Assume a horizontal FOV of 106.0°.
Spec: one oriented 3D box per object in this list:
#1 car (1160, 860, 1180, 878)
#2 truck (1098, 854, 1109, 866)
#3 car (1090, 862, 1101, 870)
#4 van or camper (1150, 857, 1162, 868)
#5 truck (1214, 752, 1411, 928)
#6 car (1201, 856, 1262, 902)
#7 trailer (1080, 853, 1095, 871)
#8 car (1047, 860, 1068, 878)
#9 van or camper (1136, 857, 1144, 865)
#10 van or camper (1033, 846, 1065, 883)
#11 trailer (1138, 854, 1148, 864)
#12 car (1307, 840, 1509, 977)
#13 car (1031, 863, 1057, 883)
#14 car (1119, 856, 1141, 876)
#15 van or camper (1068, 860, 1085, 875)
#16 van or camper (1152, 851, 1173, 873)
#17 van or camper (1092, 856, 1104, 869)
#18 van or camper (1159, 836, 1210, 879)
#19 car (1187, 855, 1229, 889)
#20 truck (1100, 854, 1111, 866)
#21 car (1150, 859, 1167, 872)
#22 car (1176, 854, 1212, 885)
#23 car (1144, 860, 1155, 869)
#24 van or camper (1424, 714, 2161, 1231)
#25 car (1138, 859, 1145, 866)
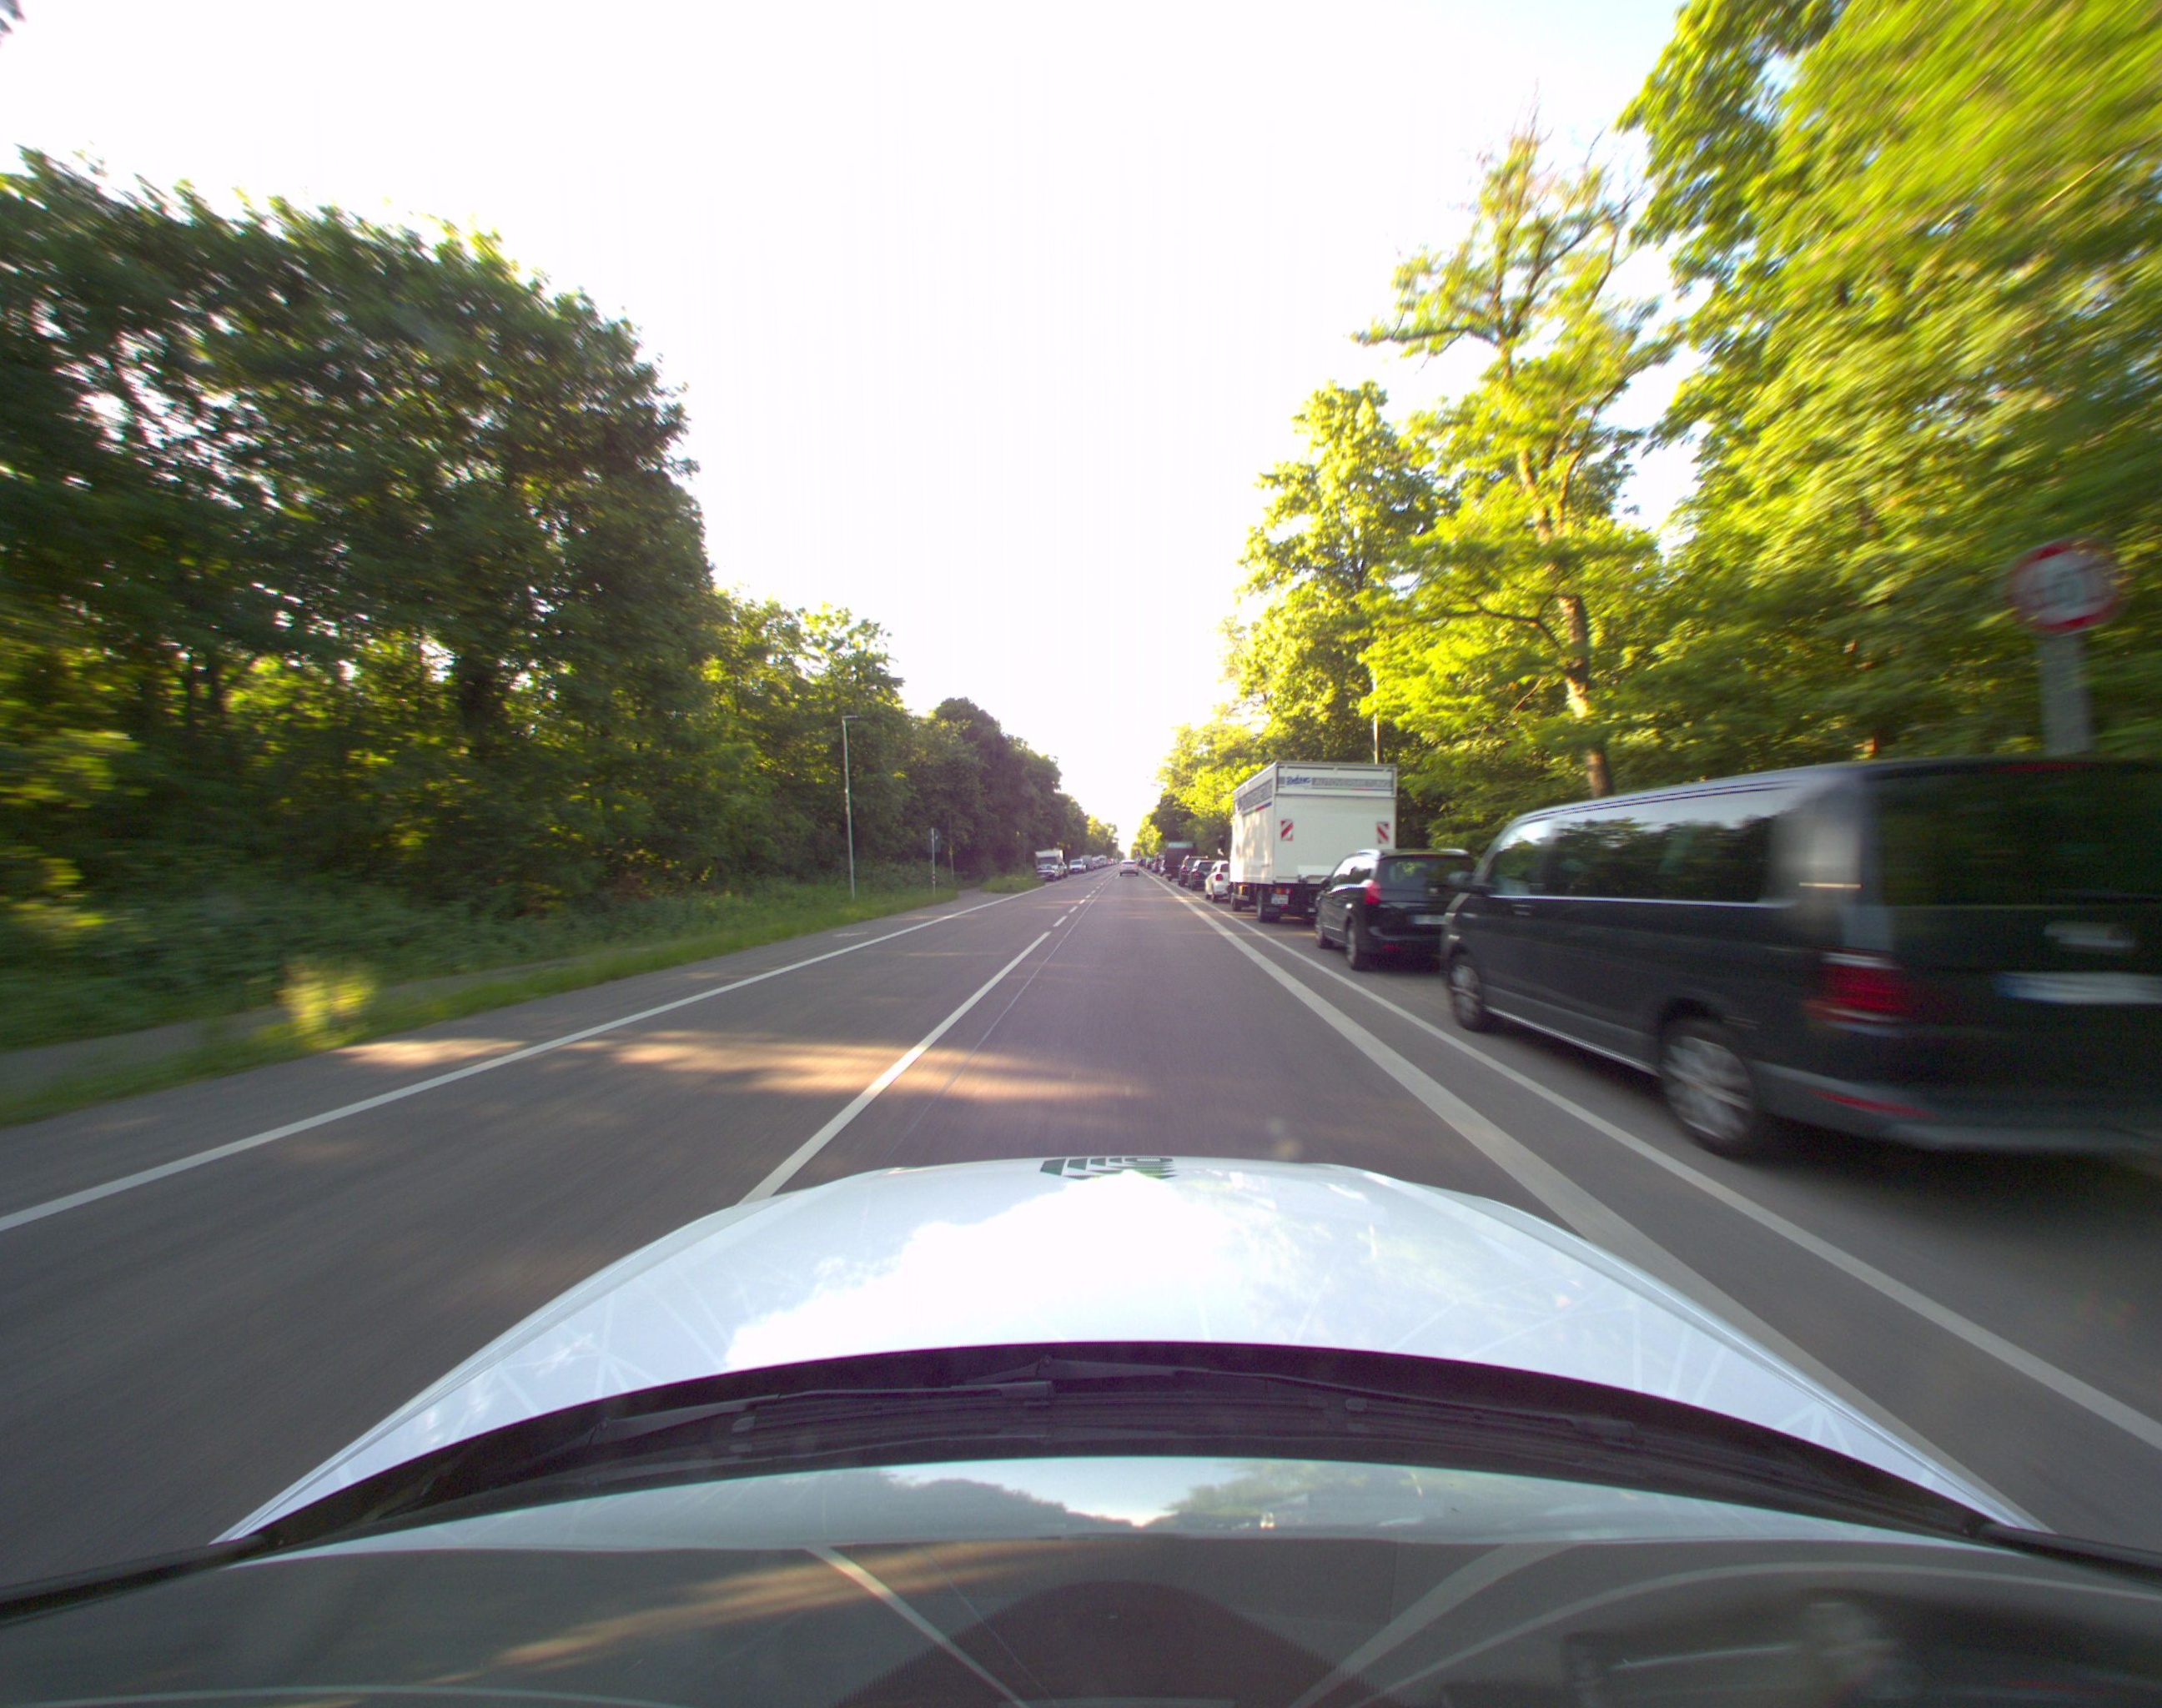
[{"bbox_3d":[7.978,1.314,73.481,1.704,1.545,4.027,0,0,4],"label":"car"},{"bbox_3d":[6.523,1.655,235.407,2.696,3.348,10.933,-2,-1,4],"label":"truck"},{"bbox_3d":[2.841,2.288,157.872,1.724,1.478,4.328,-4,-1,4],"label":"car"},{"bbox_3d":[12.977,1.505,141.027,1.943,1.815,4.384,-1,-1,3],"label":"van or camper"},{"bbox_3d":[5.428,-0.271,20.930,2.821,3.497,8.583,-2,0,2],"label":"truck"},{"bbox_3d":[5.381,0.855,29.538,1.704,1.568,4.003,0,0,3],"label":"car"},{"bbox_3d":[0.991,1.298,131.118,1.985,2.597,4.419,-4,-1,3],"label":"trailer"},{"bbox_3d":[-2.394,1.472,82.383,1.639,1.632,4.277,-4,-1,3],"label":"car"},{"bbox_3d":[14.052,1.724,194.609,1.985,1.932,5.203,-1,-1,3],"label":"van or camper"},{"bbox_3d":[-2.864,0.934,74.143,2.306,2.970,7.112,-4,-1,1],"label":"van or camper"},{"bbox_3d":[18.246,1.551,239.277,2.745,2.870,6.594,-2,-1,3],"label":"trailer"},{"bbox_3d":[4.617,0.691,12.161,1.789,1.657,4.037,-2,0,7],"label":"car"},{"bbox_3d":[-3.024,1.548,66.975,1.821,1.476,4.680,-3,-1,0],"label":"car"},{"bbox_3d":[4.811,1.162,79.524,2.020,1.840,4.033,-2,0,4],"label":"car"},{"bbox_3d":[-0.544,1.752,108.292,1.828,1.911,4.859,-3,-1,3],"label":"van or camper"},{"bbox_3d":[9.454,0.898,94.444,2.027,2.312,6.044,-3,0,3],"label":"van or camper"},{"bbox_3d":[3.718,1.788,176.836,2.111,2.572,6.548,-2,-1,4],"label":"van or camper"},{"bbox_3d":[7.483,0.216,57.994,2.422,2.800,6.585,-3,0,17],"label":"van or camper"},{"bbox_3d":[6.146,0.844,39.769,1.704,1.568,4.557,0,0,4],"label":"car"},{"bbox_3d":[6.839,1.700,224.221,2.696,3.094,7.996,-2,-1,4],"label":"truck"},{"bbox_3d":[9.560,1.387,101.170,1.741,1.515,4.001,-3,-1,1],"label":"car"},{"bbox_3d":[6.233,0.826,45.287,1.704,1.665,4.557,0,0,4],"label":"car"},{"bbox_3d":[11.318,1.764,134.711,1.683,1.524,4.153,0,0,4],"label":"car"},{"bbox_3d":[4.131,0.474,5.506,1.889,2.013,4.591,-2,0,4],"label":"van or camper"},{"bbox_3d":[16.126,2.320,217.394,1.833,1.662,4.004,-2,-1,4],"label":"car"}]
